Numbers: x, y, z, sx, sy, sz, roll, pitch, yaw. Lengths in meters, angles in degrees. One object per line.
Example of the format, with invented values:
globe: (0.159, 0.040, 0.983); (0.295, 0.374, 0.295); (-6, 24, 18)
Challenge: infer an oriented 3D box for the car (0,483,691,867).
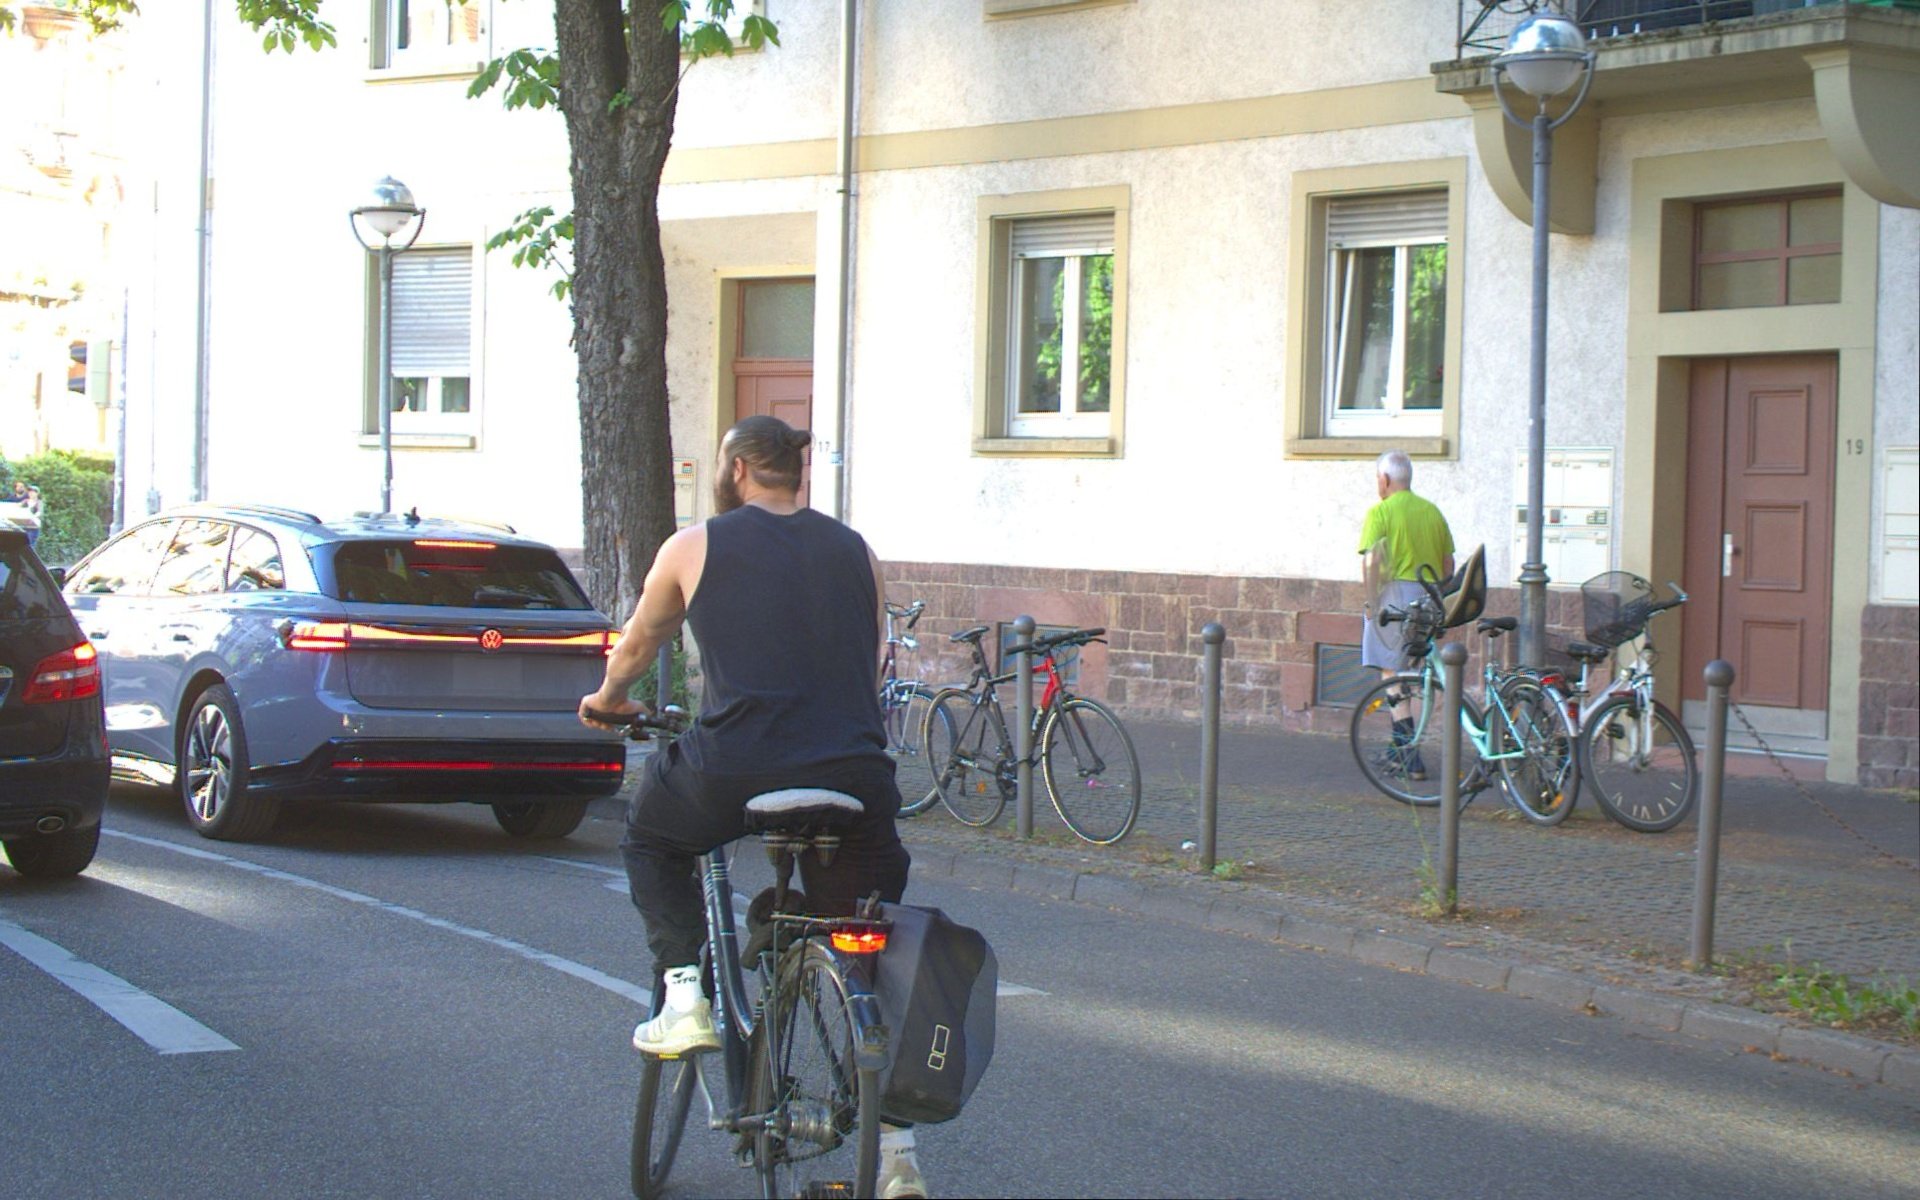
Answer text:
car: (-3.141, 0.271, 16.647); (1.892, 1.572, 4.000); (1, 2, -34)

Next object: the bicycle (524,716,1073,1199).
bicycle: (-0.411, 0.826, 7.168); (0.737, 1.008, 2.062); (1, 2, -14)

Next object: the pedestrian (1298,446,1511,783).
pedestrian: (2.437, 0.059, 18.825); (0.995, 1.788, 0.659); (-2, 3, -43)

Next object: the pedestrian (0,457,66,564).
pedestrian: (-17.436, -1.662, 63.698); (1.158, 1.955, 1.387); (2, 1, 12)

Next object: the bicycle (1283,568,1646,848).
bicycle: (2.338, 0.468, 16.210); (0.494, 1.168, 2.117); (-3, 3, -29)

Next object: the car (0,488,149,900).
car: (-5.021, 0.311, 14.245); (1.813, 1.538, 3.958); (-2, 2, -36)

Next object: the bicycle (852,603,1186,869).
bicycle: (0.235, 0.584, 15.736); (0.616, 1.054, 1.929); (-1, 3, -30)

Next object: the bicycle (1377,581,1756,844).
bicycle: (2.865, 0.499, 16.492); (0.582, 1.110, 2.117); (0, 2, -28)

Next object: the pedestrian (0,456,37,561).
pedestrian: (-18.253, -1.737, 64.725); (1.158, 1.955, 1.387); (2, 1, 12)

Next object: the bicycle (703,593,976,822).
bicycle: (-0.634, 0.501, 17.079); (0.520, 0.995, 2.192); (1, 2, -25)

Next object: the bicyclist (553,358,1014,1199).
bicyclist: (-0.390, 0.369, 7.102); (0.752, 1.676, 0.913); (1, 1, -14)
